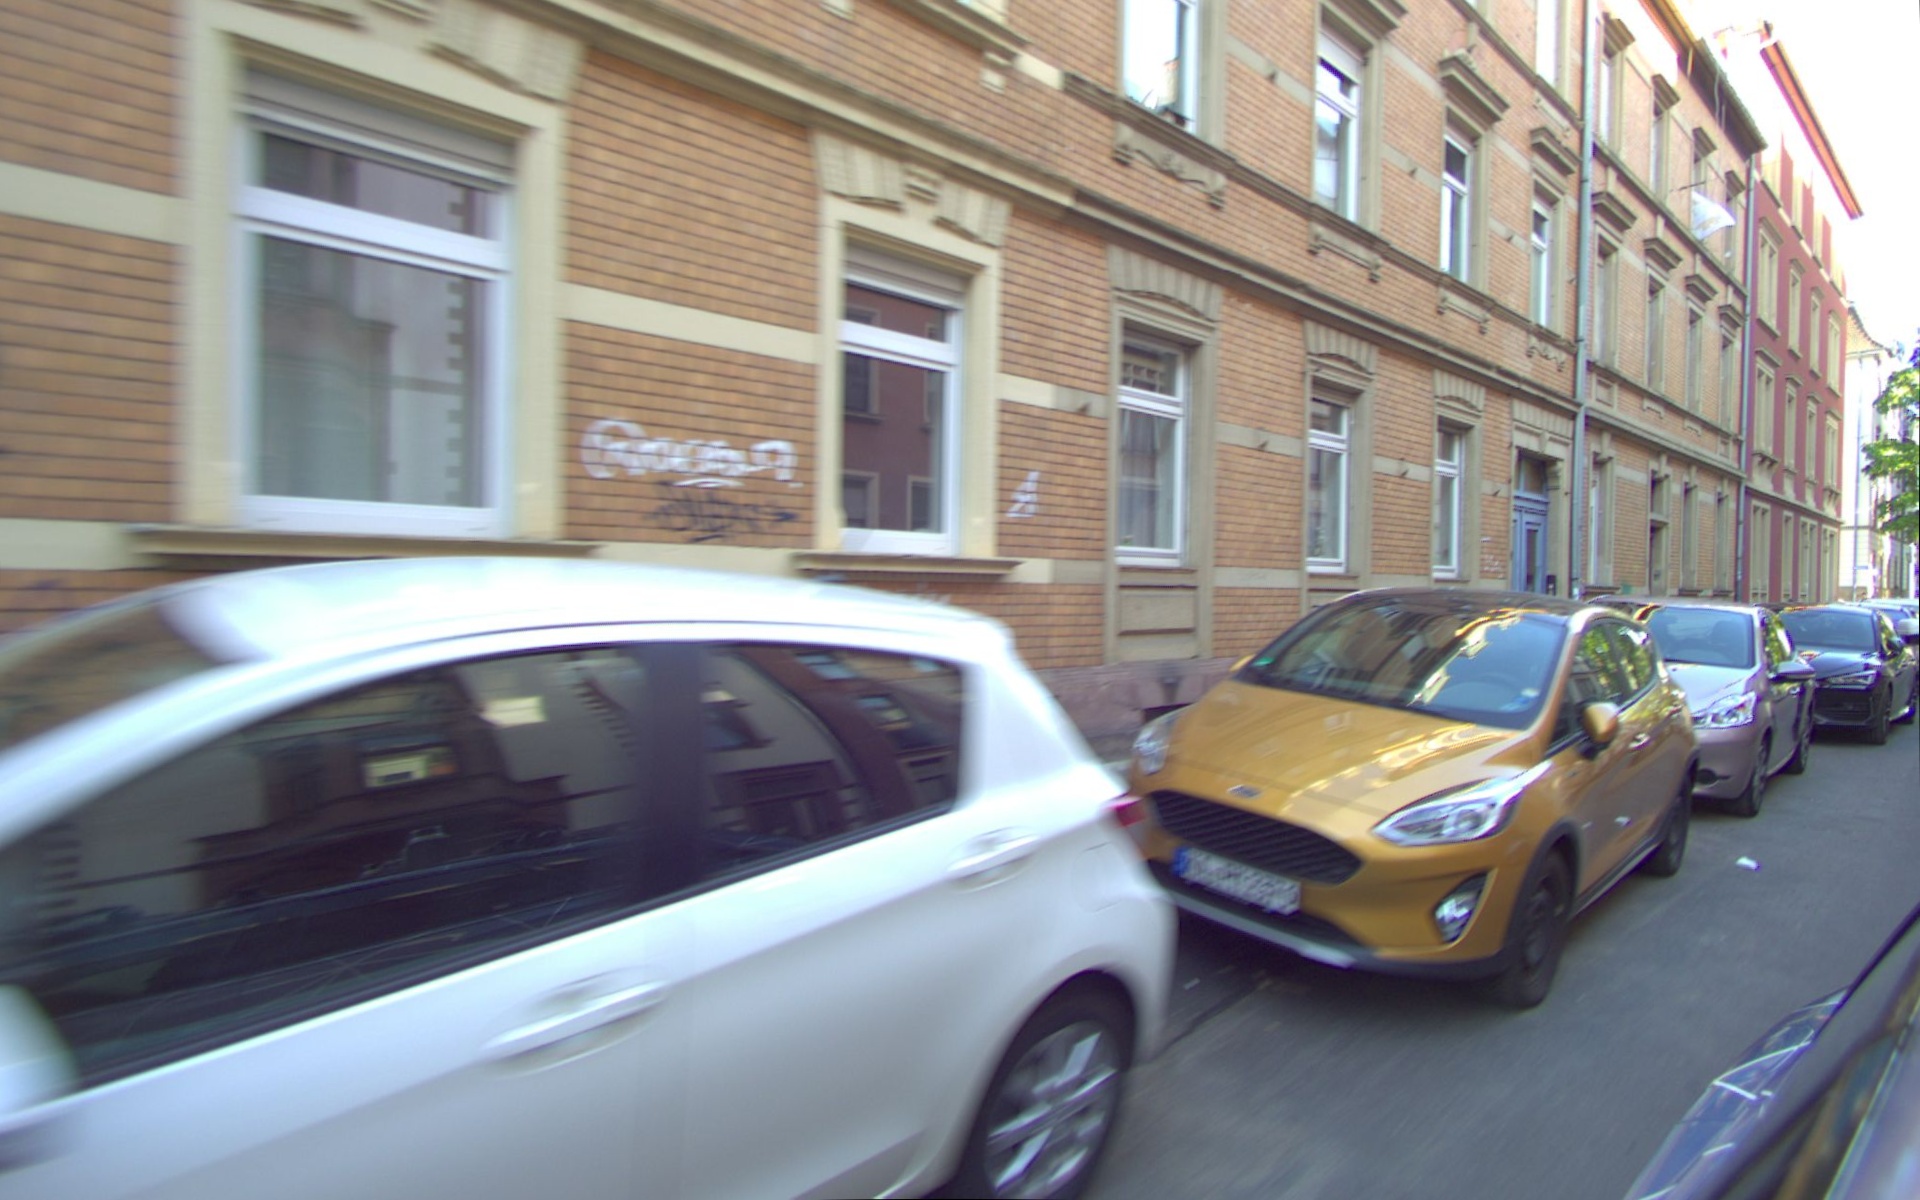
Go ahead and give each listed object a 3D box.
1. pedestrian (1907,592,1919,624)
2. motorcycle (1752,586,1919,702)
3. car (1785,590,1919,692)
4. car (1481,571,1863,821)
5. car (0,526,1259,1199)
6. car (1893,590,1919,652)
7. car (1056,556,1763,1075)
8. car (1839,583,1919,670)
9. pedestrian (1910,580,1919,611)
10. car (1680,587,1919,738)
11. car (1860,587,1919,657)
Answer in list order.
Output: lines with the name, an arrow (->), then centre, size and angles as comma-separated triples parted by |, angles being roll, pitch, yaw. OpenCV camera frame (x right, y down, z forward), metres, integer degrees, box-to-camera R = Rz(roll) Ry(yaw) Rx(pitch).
pedestrian -> 55.836, 0.444, 59.238 | 0.694, 1.868, 0.528 | 0, 1, -41
motorcycle -> 12.612, 0.597, 14.153 | 2.201, 1.556, 0.883 | -1, -1, 23
car -> 14.685, 0.571, 16.174 | 3.923, 1.424, 1.695 | 0, 1, -41
car -> 5.976, 0.577, 8.300 | 4.026, 1.434, 1.728 | 0, 5, -44
car -> -1.267, 0.651, 2.077 | 4.014, 1.498, 1.724 | -1, 5, -43
car -> 25.485, 0.527, 26.105 | 3.998, 1.522, 1.679 | 0, 1, -42
car -> 2.479, 0.597, 5.016 | 4.002, 1.463, 1.756 | -1, 5, -44
car -> 18.257, 0.462, 19.235 | 4.325, 1.502, 1.765 | 0, 1, -41
pedestrian -> 56.653, -0.270, 59.812 | 0.704, 1.868, 0.828 | 1, 1, 42
car -> 10.007, 0.590, 11.754 | 4.242, 1.414, 1.780 | 0, 1, -42
car -> 22.031, 0.469, 23.313 | 3.958, 1.498, 1.660 | 0, 1, -44
